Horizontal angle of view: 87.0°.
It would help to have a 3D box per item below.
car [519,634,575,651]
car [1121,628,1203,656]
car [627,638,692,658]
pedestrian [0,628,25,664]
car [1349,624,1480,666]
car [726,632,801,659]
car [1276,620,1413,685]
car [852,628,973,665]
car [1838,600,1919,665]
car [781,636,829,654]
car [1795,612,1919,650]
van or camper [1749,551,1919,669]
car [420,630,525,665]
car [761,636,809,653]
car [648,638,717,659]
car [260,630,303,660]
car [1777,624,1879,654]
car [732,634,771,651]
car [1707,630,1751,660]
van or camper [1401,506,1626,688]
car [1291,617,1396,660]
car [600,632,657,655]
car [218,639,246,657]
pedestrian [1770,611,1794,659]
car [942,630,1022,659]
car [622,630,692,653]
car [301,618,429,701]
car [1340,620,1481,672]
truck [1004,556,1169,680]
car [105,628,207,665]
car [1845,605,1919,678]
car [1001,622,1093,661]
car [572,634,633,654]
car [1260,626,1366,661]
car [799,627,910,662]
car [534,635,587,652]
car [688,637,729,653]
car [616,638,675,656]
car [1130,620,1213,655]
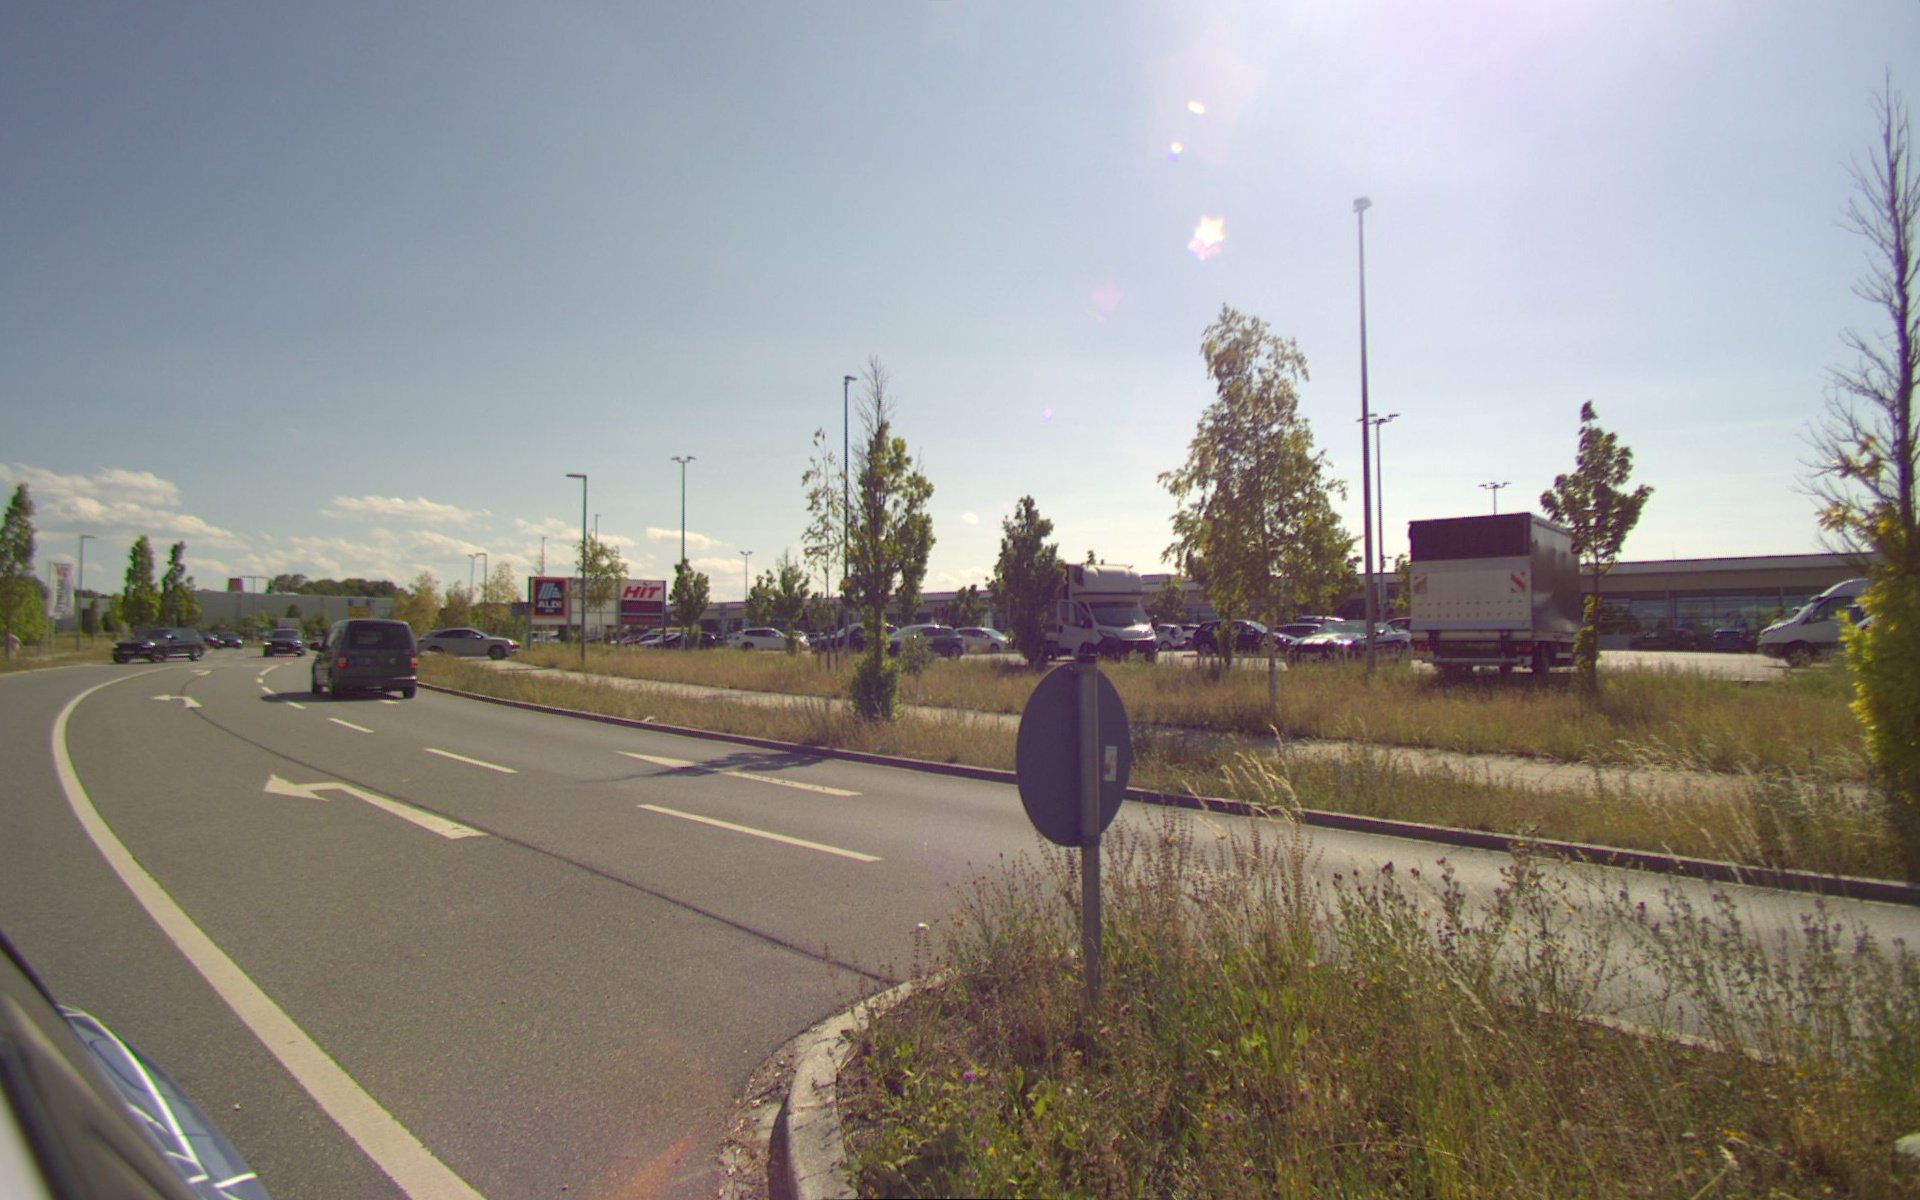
[{"bbox_3d":[-43.434,4.499,106.562,5.119,1.685,2.001,3,-4,-44],"label":"car"},{"bbox_3d":[11.656,2.423,58.582,4.378,1.594,1.813,-2,-3,40],"label":"car"},{"bbox_3d":[-21.539,3.421,72.505,4.086,1.358,1.942,2,-3,-31],"label":"car"},{"bbox_3d":[-40.257,1.937,42.827,0.782,1.481,0.952,1,-2,-30],"label":"pedestrian"},{"bbox_3d":[17.762,1.749,39.654,4.375,1.574,1.815,-2,-3,38],"label":"car"},{"bbox_3d":[-11.567,2.689,59.712,4.163,1.559,1.919,0,-2,-3],"label":"car"},{"bbox_3d":[10.075,1.333,26.346,1.838,1.564,4.319,-2,-3,43],"label":"car"},{"bbox_3d":[-1.812,1.801,39.505,4.365,1.394,1.980,2,-3,-36],"label":"car"},{"bbox_3d":[25.831,0.860,26.543,4.076,1.683,1.645,-2,-3,37],"label":"car"},{"bbox_3d":[-13.679,3.963,89.076,4.349,1.561,1.695,-2,-3,39],"label":"car"},{"bbox_3d":[39.147,1.356,44.131,4.077,1.599,1.645,-2,-3,38],"label":"car"},{"bbox_3d":[27.431,0.309,29.242,7.227,3.296,2.406,-2,-3,39],"label":"van or camper"},{"bbox_3d":[-25.141,2.477,52.386,4.695,1.656,2.122,0,-3,-18],"label":"car"},{"bbox_3d":[-15.092,3.837,87.131,4.349,1.428,1.695,-2,-3,39],"label":"car"},{"bbox_3d":[-18.531,3.234,67.539,4.086,1.358,1.942,2,-3,-31],"label":"car"},{"bbox_3d":[-39.273,2.611,58.649,1.727,1.700,4.394,2,-3,-30],"label":"car"},{"bbox_3d":[47.245,2.133,55.215,4.077,1.608,1.645,-2,-3,38],"label":"car"},{"bbox_3d":[-21.984,4.486,106.675,4.582,1.754,1.693,-2,-4,42],"label":"car"},{"bbox_3d":[49.525,2.886,65.147,1.999,1.839,3.946,-2,-3,40],"label":"car"},{"bbox_3d":[12.811,0.067,23.060,2.556,3.495,7.606,-2,-3,44],"label":"van or camper"},{"bbox_3d":[18.558,1.857,49.092,4.378,2.010,1.813,-2,-3,40],"label":"car"},{"bbox_3d":[-27.346,3.622,83.525,4.087,1.875,1.938,2,-3,-33],"label":"car"},{"bbox_3d":[-62.673,4.092,87.083,1.758,1.505,4.008,1,-2,-38],"label":"car"},{"bbox_3d":[31.962,1.375,39.359,0.660,1.855,0.474,-2,-3,37],"label":"pedestrian"},{"bbox_3d":[1.206,2.477,56.809,4.378,1.523,1.813,-2,-3,40],"label":"car"},{"bbox_3d":[-27.028,3.745,90.337,5.610,1.980,2.003,2,-4,-41],"label":"car"},{"bbox_3d":[-14.365,1.425,24.313,1.926,1.808,4.434,4,-4,-39],"label":"car"},{"bbox_3d":[16.400,1.645,36.936,4.375,1.787,1.815,-2,-3,38],"label":"car"},{"bbox_3d":[3.779,0.652,32.420,2.284,3.491,7.516,1,-2,-18],"label":"truck"},{"bbox_3d":[-38.807,2.281,49.007,1.872,1.692,4.474,-1,-3,-9],"label":"car"},{"bbox_3d":[22.601,0.920,22.611,4.076,1.627,1.645,-2,-3,37],"label":"car"},{"bbox_3d":[4.320,2.057,50.520,4.378,1.837,1.813,-2,-3,40],"label":"car"},{"bbox_3d":[-31.598,3.895,89.496,4.705,1.685,1.886,2,-3,-37],"label":"car"},{"bbox_3d":[16.485,2.023,47.365,4.375,1.574,1.815,-2,-3,38],"label":"car"},{"bbox_3d":[-4.557,1.934,44.060,4.515,1.469,1.842,2,-3,-36],"label":"car"},{"bbox_3d":[-40.413,4.395,102.453,4.530,1.685,2.004,2,-3,-39],"label":"car"},{"bbox_3d":[-25.405,4.571,102.297,4.348,1.538,1.695,-2,-3,38],"label":"car"},{"bbox_3d":[-24.685,3.675,79.419,4.086,1.358,1.942,2,-3,-31],"label":"car"},{"bbox_3d":[12.763,2.283,61.197,4.630,2.040,1.813,-2,-3,40],"label":"car"}]
